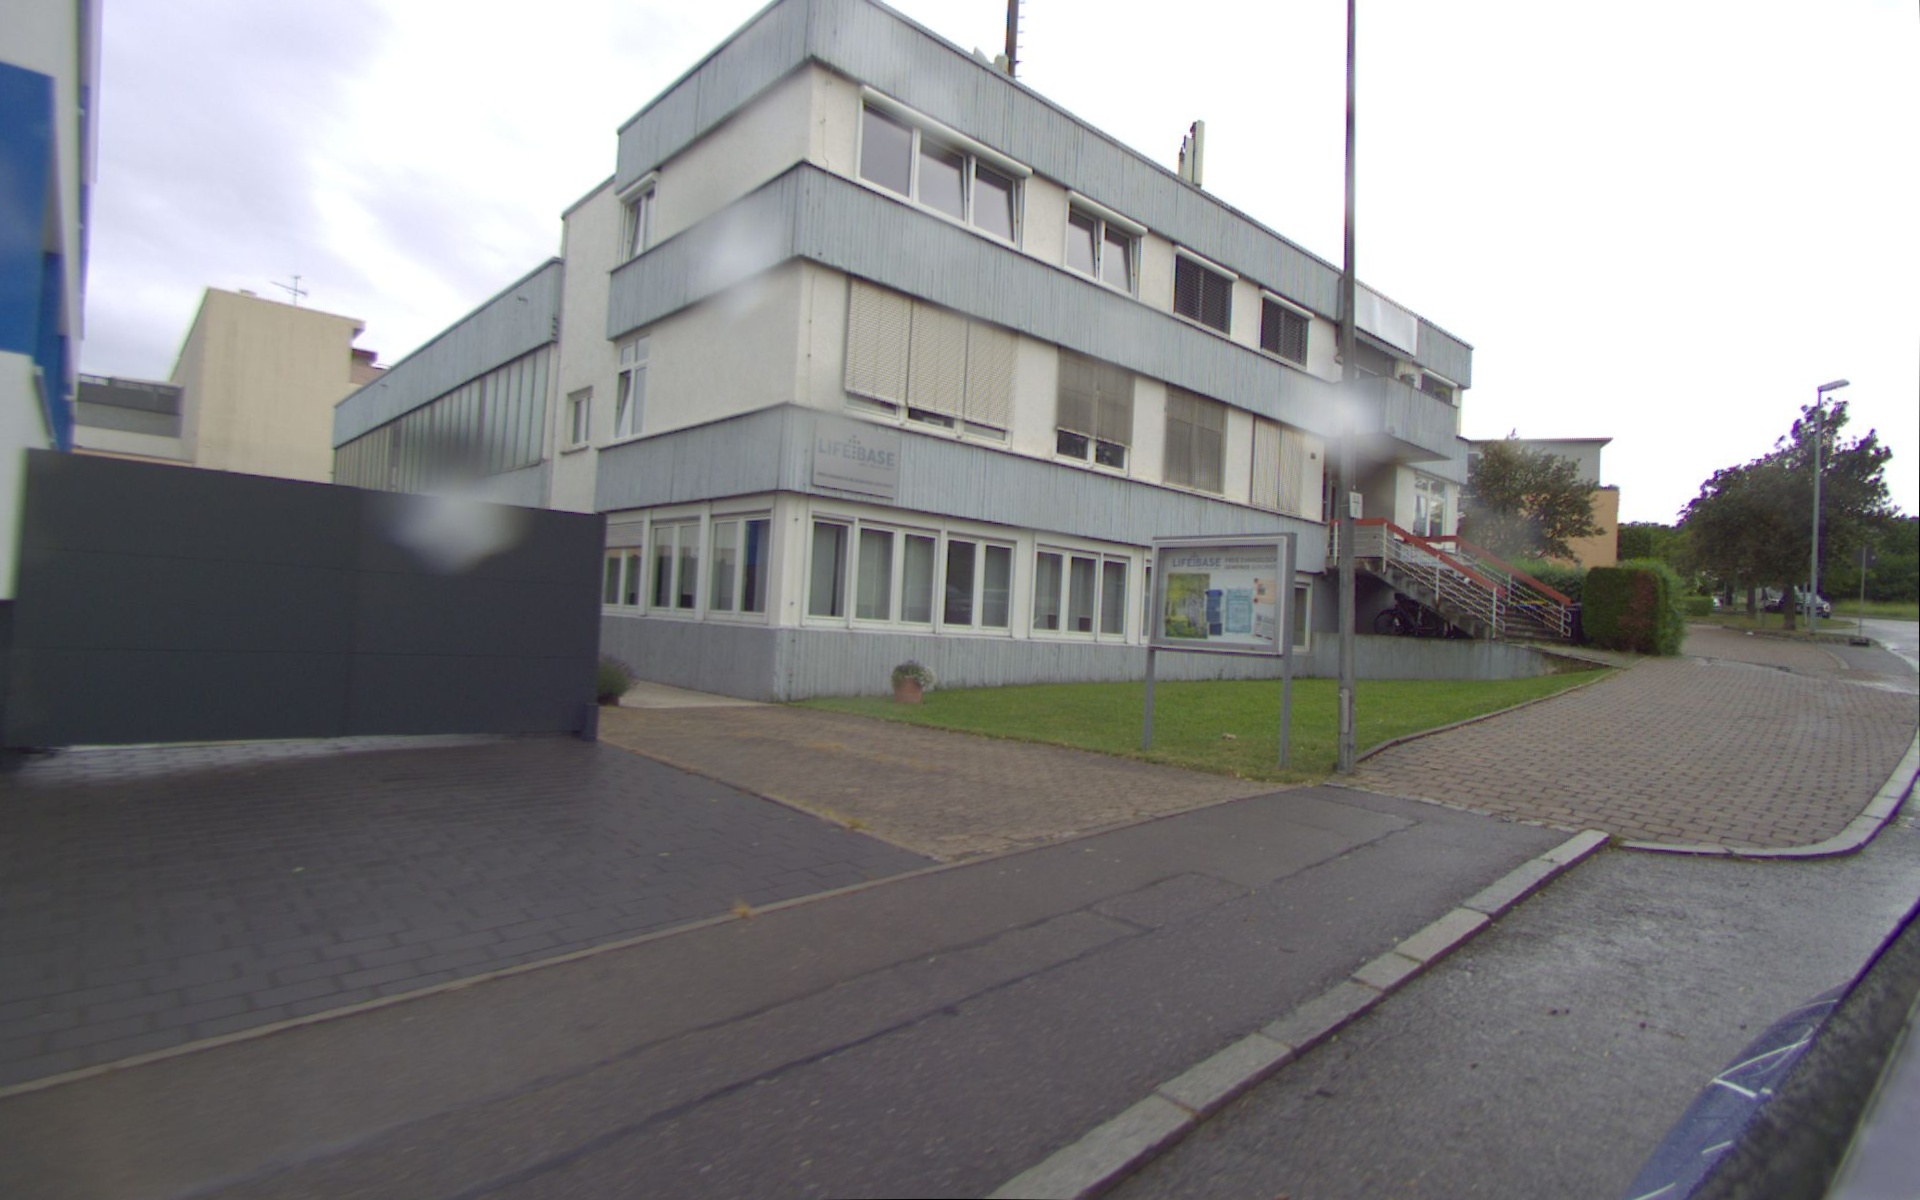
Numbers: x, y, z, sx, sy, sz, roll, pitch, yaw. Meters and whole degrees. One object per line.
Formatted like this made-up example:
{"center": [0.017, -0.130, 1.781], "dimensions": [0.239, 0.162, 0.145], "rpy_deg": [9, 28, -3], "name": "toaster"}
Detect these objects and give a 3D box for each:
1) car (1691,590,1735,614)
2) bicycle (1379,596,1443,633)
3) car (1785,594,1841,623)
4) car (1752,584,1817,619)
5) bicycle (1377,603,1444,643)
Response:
{"center": [62.990, 0.162, 84.720], "dimensions": [1.802, 1.807, 3.797], "rpy_deg": [1, 2, 19], "name": "car"}
{"center": [11.049, 0.348, 24.795], "dimensions": [1.407, 0.840, 0.283], "rpy_deg": [1, 1, 26], "name": "bicycle"}
{"center": [55.217, 0.518, 65.597], "dimensions": [1.800, 1.748, 4.608], "rpy_deg": [2, 2, 28], "name": "car"}
{"center": [57.744, 0.090, 71.010], "dimensions": [2.031, 2.360, 5.365], "rpy_deg": [1, 1, 23], "name": "car"}
{"center": [10.918, 0.539, 24.528], "dimensions": [1.456, 0.913, 0.283], "rpy_deg": [1, 1, 26], "name": "bicycle"}
